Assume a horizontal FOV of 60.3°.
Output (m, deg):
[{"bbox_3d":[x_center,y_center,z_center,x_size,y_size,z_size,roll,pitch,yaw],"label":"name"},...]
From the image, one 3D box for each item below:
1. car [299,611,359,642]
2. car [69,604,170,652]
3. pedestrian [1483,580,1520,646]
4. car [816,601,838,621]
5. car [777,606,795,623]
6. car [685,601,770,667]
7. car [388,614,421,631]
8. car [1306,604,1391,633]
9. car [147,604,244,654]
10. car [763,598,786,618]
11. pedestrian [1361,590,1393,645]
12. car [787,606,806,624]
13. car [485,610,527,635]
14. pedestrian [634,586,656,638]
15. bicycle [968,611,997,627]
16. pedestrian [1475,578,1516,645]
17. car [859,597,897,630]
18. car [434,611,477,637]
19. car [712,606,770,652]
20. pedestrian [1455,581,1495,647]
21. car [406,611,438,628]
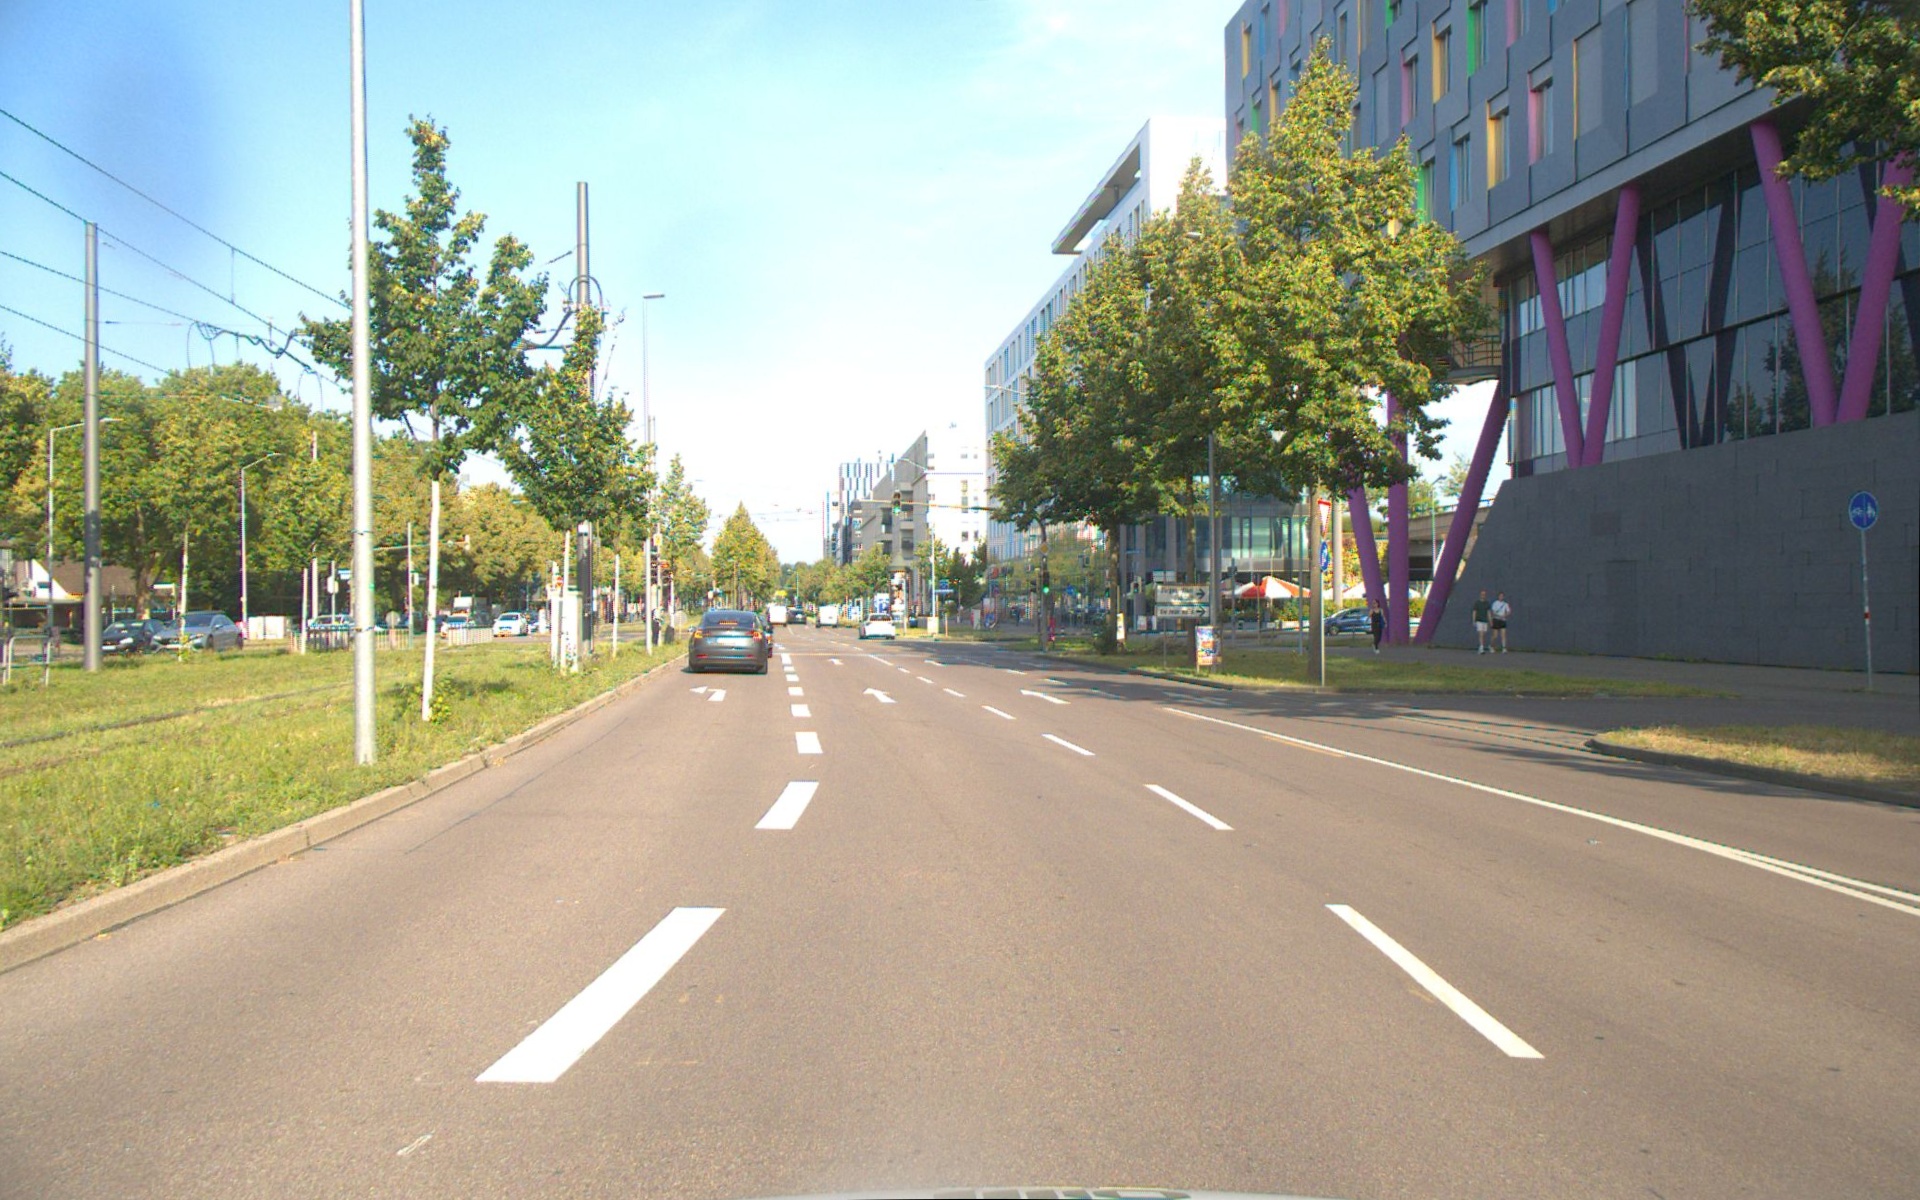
[{"bbox_3d":[-33.273,1.371,87.329,1.869,1.554,4.435,0,0,-6],"label":"car"},{"bbox_3d":[-31.880,1.029,62.864,1.956,1.717,4.609,0,0,-7],"label":"car"},{"bbox_3d":[15.452,0.370,47.217,0.644,1.824,0.785,-3,0,-8],"label":"pedestrian"},{"bbox_3d":[-11.797,0.939,146.397,1.828,1.713,3.995,1,0,-6],"label":"car"},{"bbox_3d":[-19.142,1.585,181.877,1.888,1.713,3.993,1,0,-8],"label":"car"},{"bbox_3d":[-5.479,0.769,39.058,1.854,1.410,4.327,1,0,-8],"label":"car"},{"bbox_3d":[-51.405,2.078,153.143,1.843,1.587,3.999,-1,-1,-1],"label":"car"},{"bbox_3d":[21.106,1.000,89.840,4.105,1.449,1.856,-1,0,-8],"label":"car"},{"bbox_3d":[-27.645,1.011,59.950,1.958,1.554,4.899,-4,1,-11],"label":"car"},{"bbox_3d":[-16.633,0.727,148.618,1.976,1.713,3.995,1,0,-6],"label":"car"},{"bbox_3d":[12.935,0.548,51.277,0.681,1.667,0.735,-2,0,-8],"label":"pedestrian"},{"bbox_3d":[-16.677,1.502,168.627,1.887,1.713,3.995,1,0,-6],"label":"car"},{"bbox_3d":[-28.949,1.442,105.608,1.955,1.530,4.087,-1,0,-6],"label":"car"},{"bbox_3d":[-11.216,0.432,58.941,0.686,1.823,0.634,1,-1,-6],"label":"pedestrian"},{"bbox_3d":[1.490,1.232,108.692,1.844,1.050,0.769,-1,0,40],"label":"bicycle"},{"bbox_3d":[15.277,0.319,47.184,0.753,1.857,0.851,-2,0,-8],"label":"pedestrian"},{"bbox_3d":[-4.525,0.715,90.847,1.828,1.713,3.995,1,0,-6],"label":"car"},{"bbox_3d":[-32.315,1.530,106.114,1.956,1.554,4.304,0,0,-8],"label":"car"},{"bbox_3d":[-7.000,0.893,53.012,1.730,1.353,4.392,1,0,-7],"label":"car"},{"bbox_3d":[14.642,0.385,47.036,0.740,1.824,0.842,-3,0,-8],"label":"pedestrian"},{"bbox_3d":[-51.484,1.821,158.246,1.843,1.587,3.999,-1,-1,-1],"label":"car"}]
